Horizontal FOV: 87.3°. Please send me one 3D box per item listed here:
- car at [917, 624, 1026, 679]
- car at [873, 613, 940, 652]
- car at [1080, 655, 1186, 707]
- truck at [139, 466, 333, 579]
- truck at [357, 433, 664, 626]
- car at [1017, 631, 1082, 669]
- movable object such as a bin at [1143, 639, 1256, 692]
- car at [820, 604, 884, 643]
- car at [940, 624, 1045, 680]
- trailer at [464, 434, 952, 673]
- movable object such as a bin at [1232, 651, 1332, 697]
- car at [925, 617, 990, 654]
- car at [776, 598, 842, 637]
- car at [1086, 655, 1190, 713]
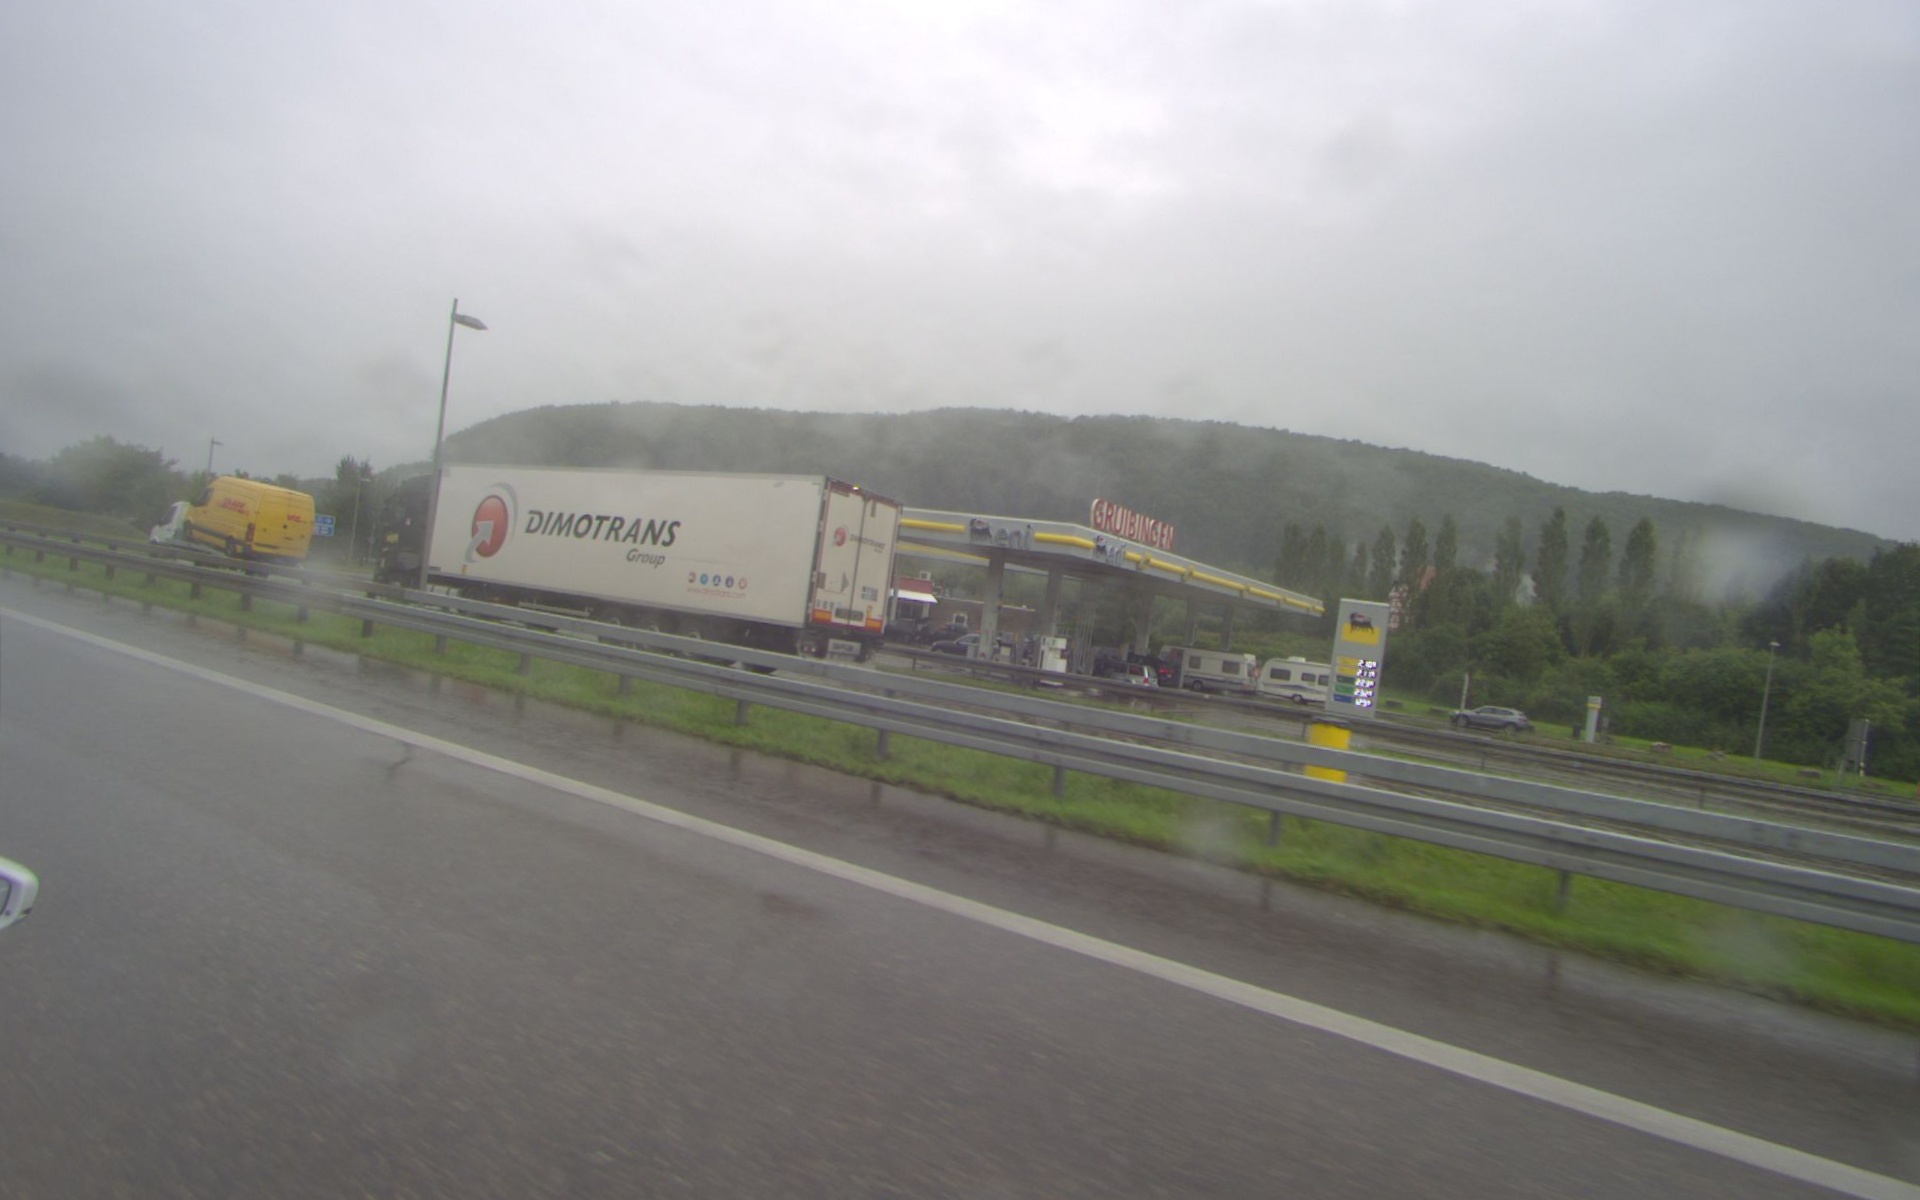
[{"bbox_3d":[0.542,2.510,49.270,4.820,2.037,1.998,6,-2,31],"label":"car"},{"bbox_3d":[-3.679,2.231,69.114,3.935,2.036,1.998,6,-3,33],"label":"car"},{"bbox_3d":[7.673,3.598,44.659,4.032,1.717,1.996,6,-2,34],"label":"car"},{"bbox_3d":[-25.380,-2.785,35.067,8.721,3.183,2.294,6,-2,34],"label":"truck"},{"bbox_3d":[-12.263,-1.974,27.257,7.688,4.268,3.534,6,-2,32],"label":"truck"},{"bbox_3d":[6.321,3.543,70.914,3.931,2.036,2.000,7,-2,28],"label":"car"},{"bbox_3d":[13.473,3.671,56.699,5.629,2.214,1.998,6,-2,31],"label":"movable object such as a bin"},{"bbox_3d":[-7.215,1.526,67.015,3.941,2.036,1.790,6,-3,39],"label":"car"},{"bbox_3d":[1.663,2.660,51.719,4.811,2.207,2.085,6,-2,31],"label":"car"},{"bbox_3d":[-6.255,-1.289,23.363,11.726,4.311,3.522,6,-2,33],"label":"trailer"},{"bbox_3d":[19.667,4.513,61.506,5.293,2.037,2.171,6,-2,31],"label":"movable object such as a bin"},{"bbox_3d":[-0.187,2.504,70.736,3.925,2.036,2.003,7,-2,18],"label":"car"},{"bbox_3d":[-9.992,1.130,66.477,3.941,2.036,1.995,6,-3,39],"label":"car"},{"bbox_3d":[7.985,3.763,45.147,3.934,2.037,1.964,6,-2,32],"label":"car"}]
